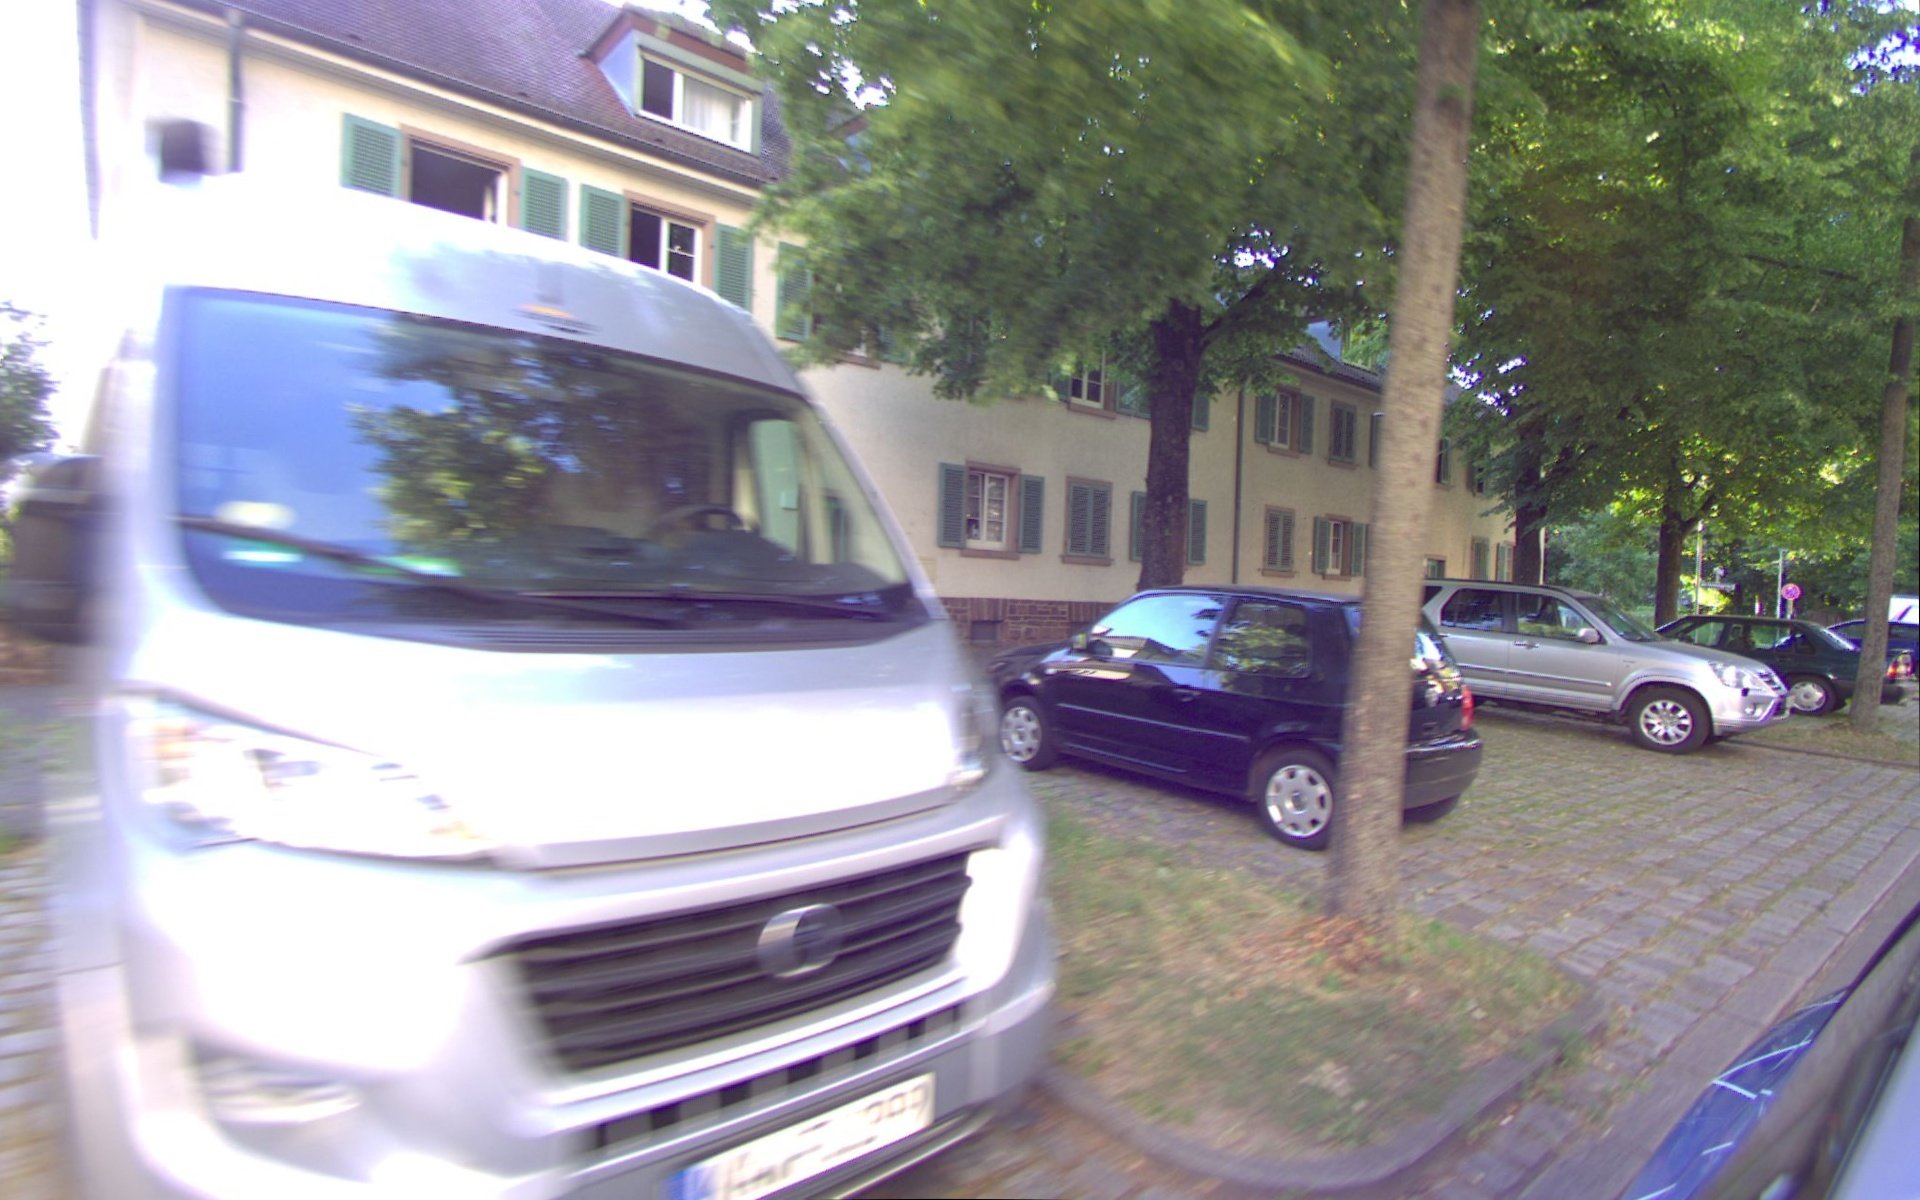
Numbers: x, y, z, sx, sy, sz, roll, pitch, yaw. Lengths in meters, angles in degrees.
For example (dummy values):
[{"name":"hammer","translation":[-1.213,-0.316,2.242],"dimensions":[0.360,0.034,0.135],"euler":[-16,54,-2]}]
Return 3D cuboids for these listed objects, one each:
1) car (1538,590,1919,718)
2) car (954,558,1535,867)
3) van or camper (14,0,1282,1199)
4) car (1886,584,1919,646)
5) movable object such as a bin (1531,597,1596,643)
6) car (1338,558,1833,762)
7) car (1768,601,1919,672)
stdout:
[{"name":"car","translation":[12.539,0.734,16.625],"dimensions":[1.909,1.459,4.904],"euler":[0,4,-42]},{"name":"car","translation":[1.764,0.521,7.071],"dimensions":[1.721,1.490,3.508],"euler":[0,3,-41]},{"name":"van or camper","translation":[-1.950,-0.157,3.831],"dimensions":[2.229,2.567,5.586],"euler":[0,4,-42]},{"name":"car","translation":[43.138,0.715,42.816],"dimensions":[2.200,2.646,5.623],"euler":[0,2,-41]},{"name":"movable object such as a bin","translation":[23.735,0.767,39.791],"dimensions":[1.560,1.678,1.641],"euler":[0,2,-33]},{"name":"car","translation":[7.063,0.527,11.849],"dimensions":[1.909,1.690,4.486],"euler":[3,3,-42]},{"name":"car","translation":[23.985,0.943,26.603],"dimensions":[1.966,1.574,3.994],"euler":[0,4,-42]}]
